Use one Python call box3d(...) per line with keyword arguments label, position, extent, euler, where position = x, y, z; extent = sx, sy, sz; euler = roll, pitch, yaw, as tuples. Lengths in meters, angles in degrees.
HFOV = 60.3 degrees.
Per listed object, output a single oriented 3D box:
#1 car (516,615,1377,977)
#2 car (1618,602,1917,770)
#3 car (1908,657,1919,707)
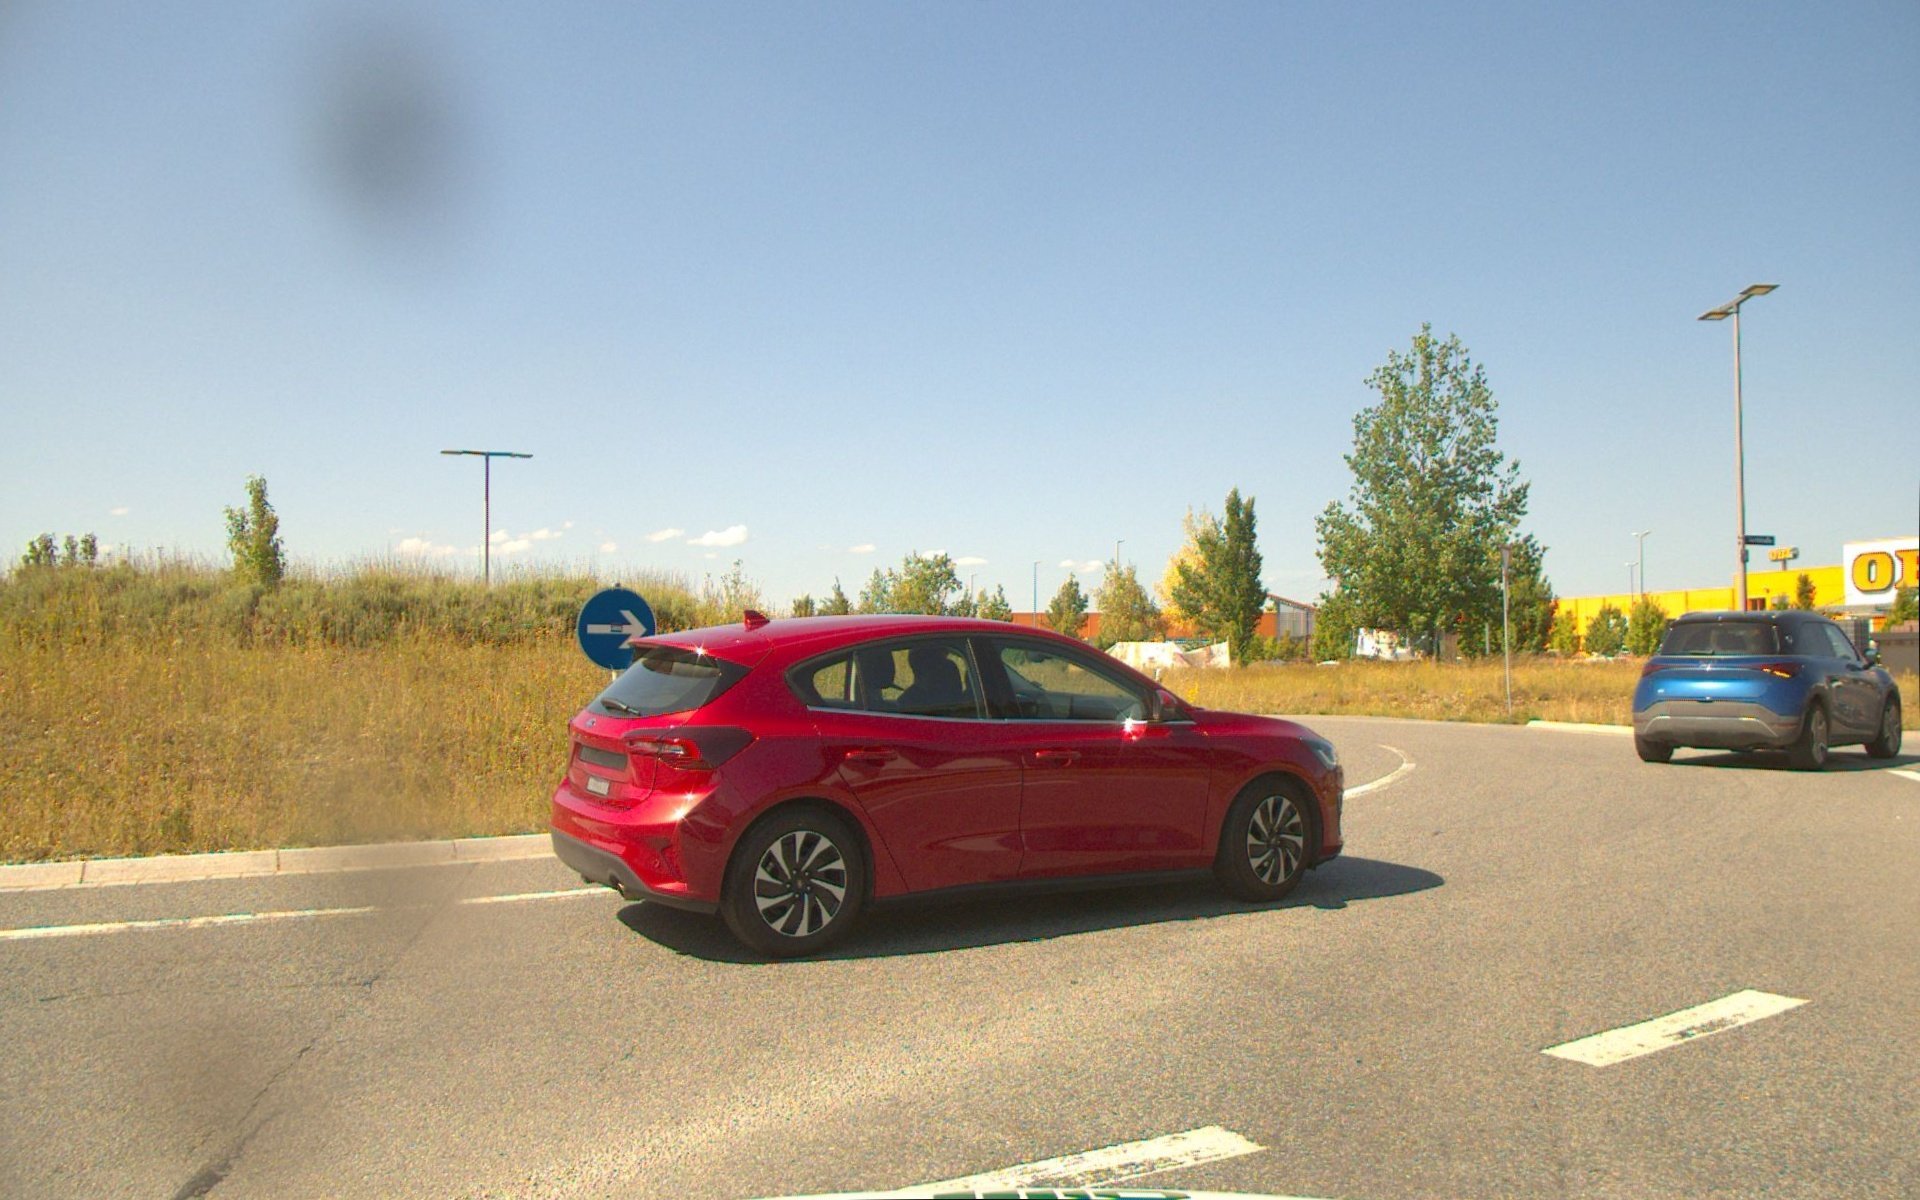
box3d(label="car", position=(-0.015, 0.801, 8.420), extent=(4.059, 1.441, 1.791), euler=(0, -1, -30))
box3d(label="car", position=(9.073, 0.881, 18.433), extent=(1.826, 1.664, 4.051), euler=(-1, -1, 44))
box3d(label="car", position=(33.775, 2.645, 53.919), extent=(2.045, 1.655, 4.659), euler=(1, -4, -25))
